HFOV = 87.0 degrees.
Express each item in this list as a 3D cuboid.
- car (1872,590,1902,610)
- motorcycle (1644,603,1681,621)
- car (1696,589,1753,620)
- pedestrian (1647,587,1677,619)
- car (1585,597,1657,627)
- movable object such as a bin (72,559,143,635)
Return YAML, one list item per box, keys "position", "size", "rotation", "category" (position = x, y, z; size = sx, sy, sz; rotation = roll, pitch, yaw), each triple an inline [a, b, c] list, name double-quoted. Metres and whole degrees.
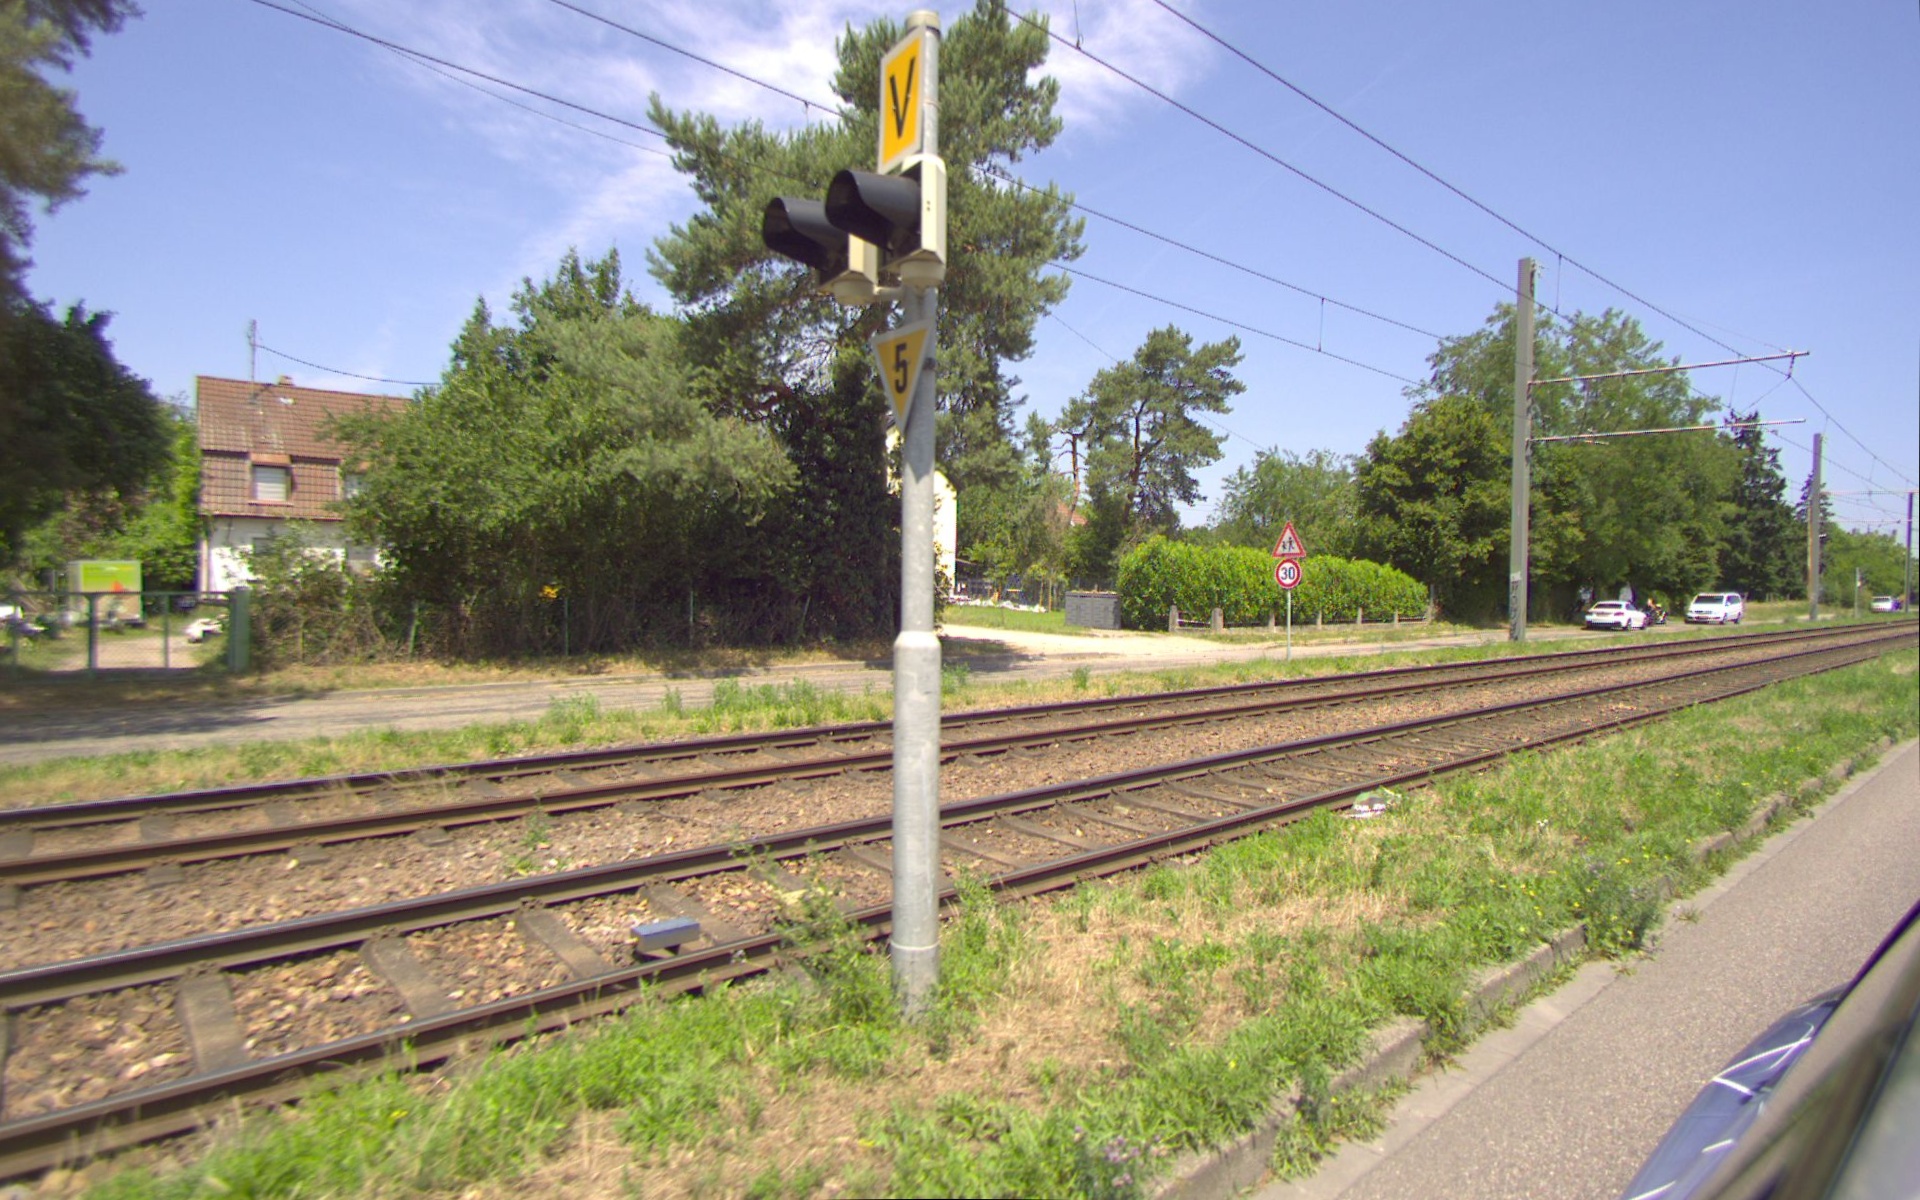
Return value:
- position: [102.251, 0.007, 111.592]
  size: [4.507, 2.150, 1.943]
  rotation: [0, 1, -41]
  category: "car"
- position: [38.613, 0.655, 55.614]
  size: [2.738, 0.919, 0.859]
  rotation: [0, 1, -37]
  category: "motorcycle"
- position: [46.595, 0.227, 61.647]
  size: [4.507, 1.849, 1.862]
  rotation: [0, 1, -41]
  category: "car"
- position: [38.503, 0.155, 55.501]
  size: [0.863, 1.684, 1.172]
  rotation: [0, 0, -36]
  category: "pedestrian"
- position: [32.012, 0.548, 48.973]
  size: [3.930, 1.401, 1.921]
  rotation: [0, 1, -41]
  category: "car"
- position: [-26.689, -0.109, 31.674]
  size: [1.611, 2.299, 1.585]
  rotation: [0, 0, -43]
  category: "movable object such as a bin"
